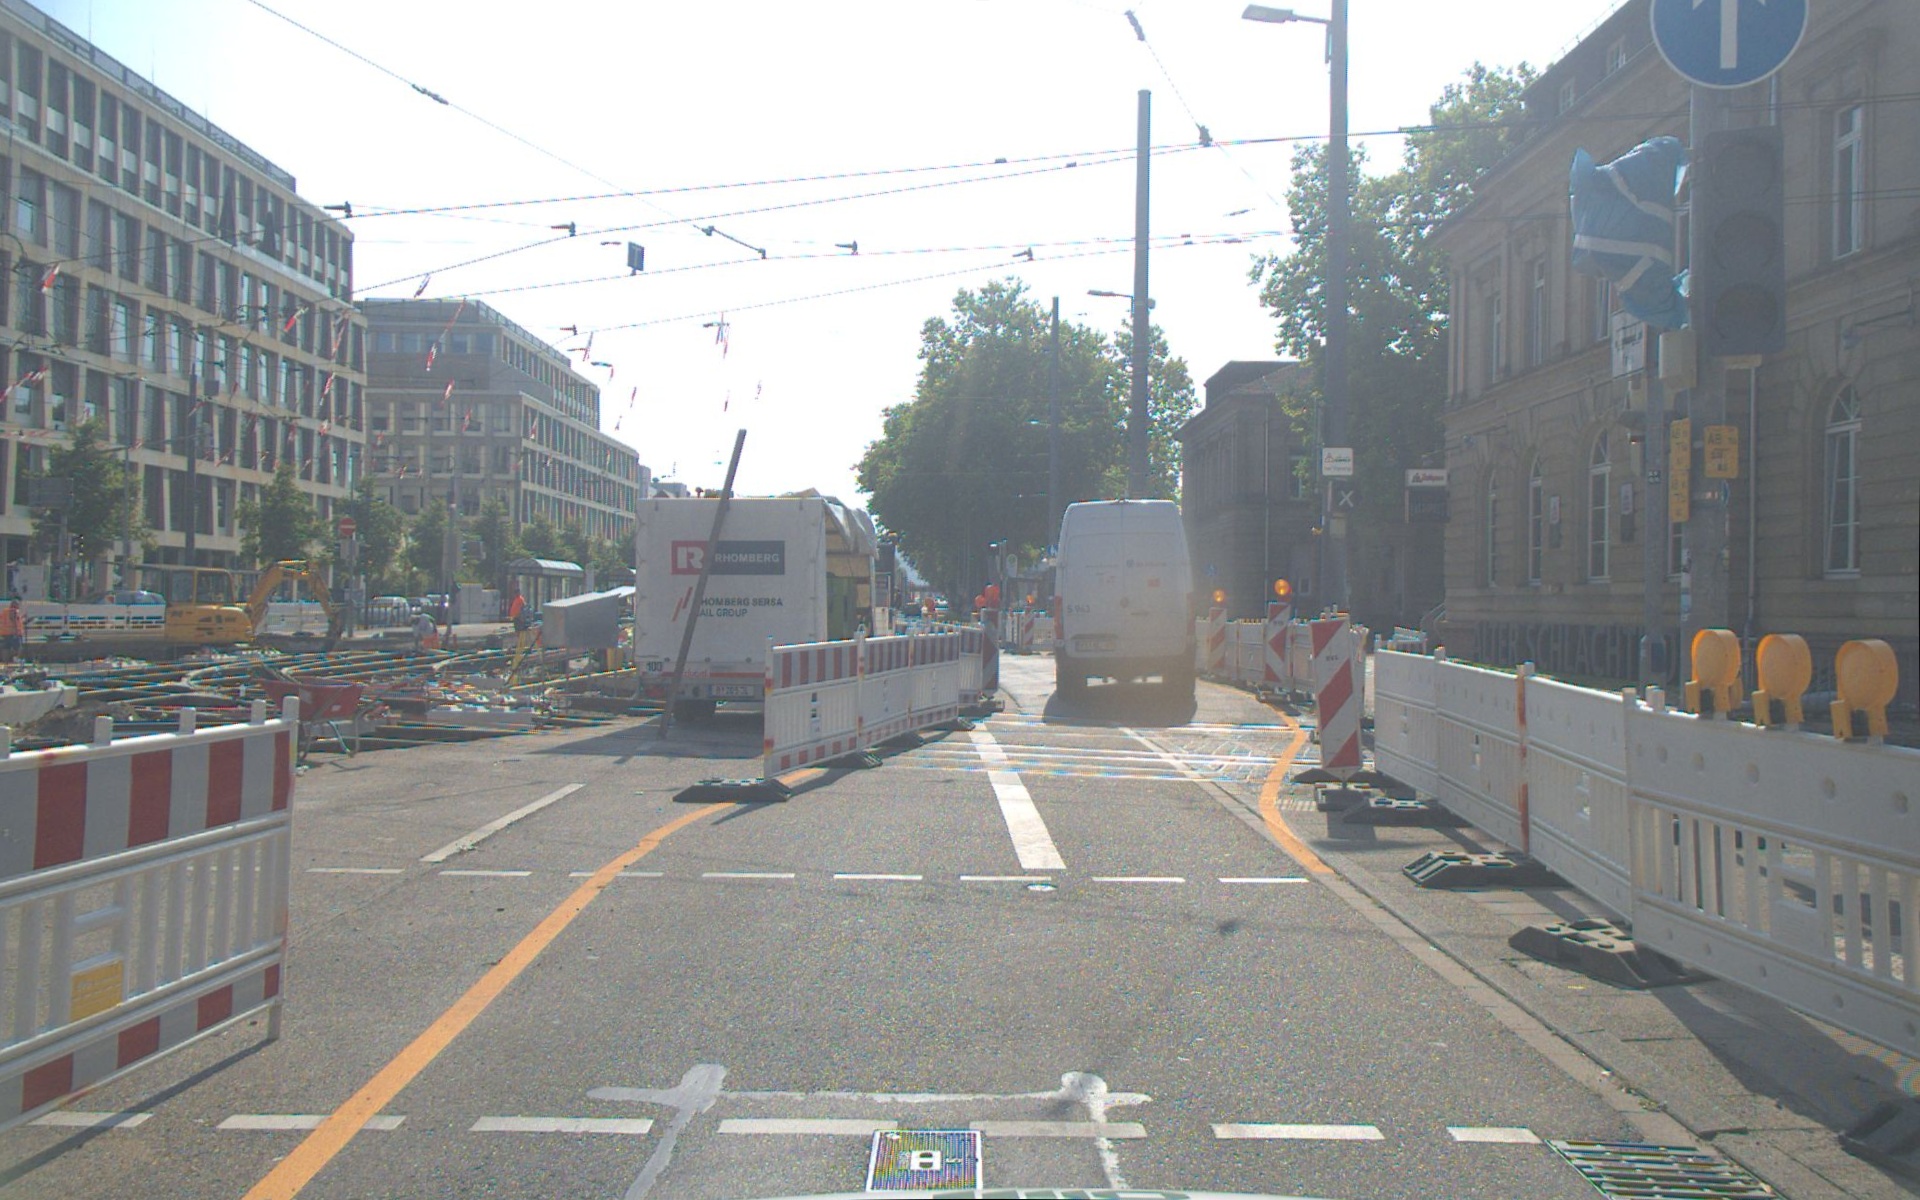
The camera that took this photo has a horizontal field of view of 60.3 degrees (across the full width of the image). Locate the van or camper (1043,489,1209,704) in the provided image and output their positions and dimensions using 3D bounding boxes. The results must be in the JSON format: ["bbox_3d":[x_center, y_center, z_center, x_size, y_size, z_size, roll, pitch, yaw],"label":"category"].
[{"bbox_3d":[2.314,-0.064,24.157,2.071,2.728,5.253,-2,0,3],"label":"van or camper"}]

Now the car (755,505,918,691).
[{"bbox_3d":[-1.845,0.004,25.585,2.163,2.467,7.194,0,0,-3],"label":"car"}]

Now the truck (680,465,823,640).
[{"bbox_3d":[-5.541,-1.146,42.689,2.744,3.981,8.391,2,0,-13],"label":"truck"}]
